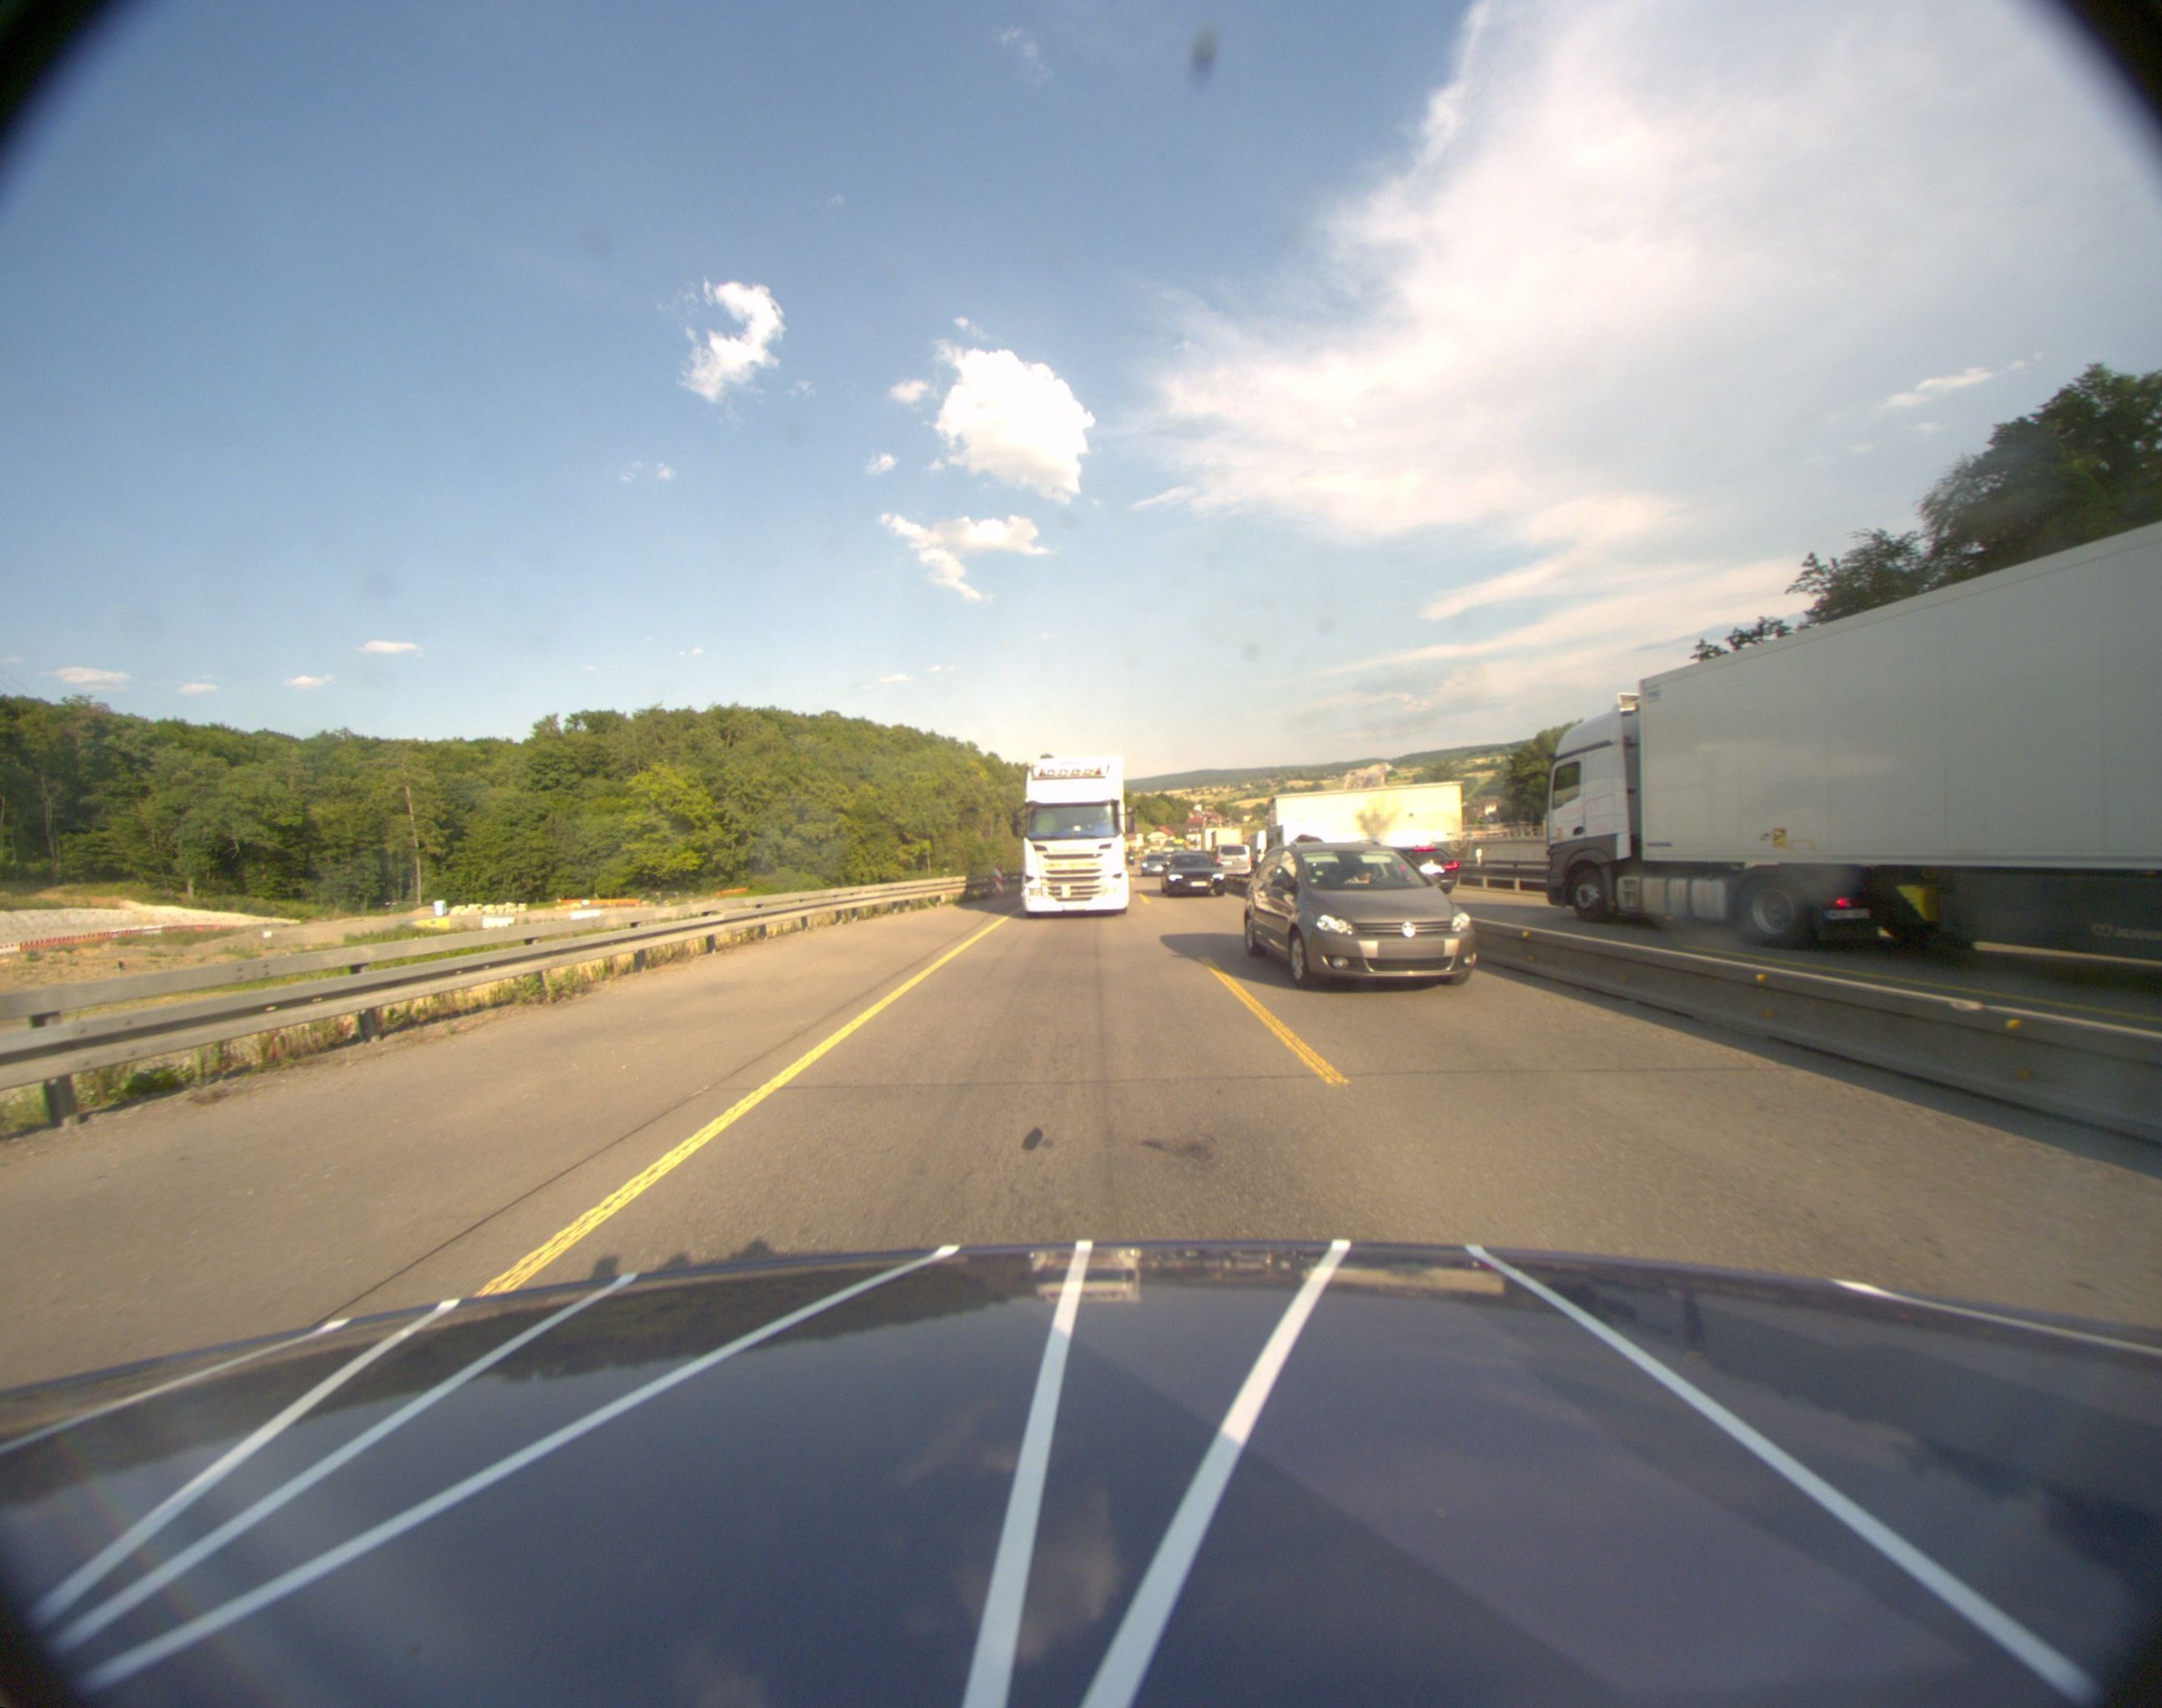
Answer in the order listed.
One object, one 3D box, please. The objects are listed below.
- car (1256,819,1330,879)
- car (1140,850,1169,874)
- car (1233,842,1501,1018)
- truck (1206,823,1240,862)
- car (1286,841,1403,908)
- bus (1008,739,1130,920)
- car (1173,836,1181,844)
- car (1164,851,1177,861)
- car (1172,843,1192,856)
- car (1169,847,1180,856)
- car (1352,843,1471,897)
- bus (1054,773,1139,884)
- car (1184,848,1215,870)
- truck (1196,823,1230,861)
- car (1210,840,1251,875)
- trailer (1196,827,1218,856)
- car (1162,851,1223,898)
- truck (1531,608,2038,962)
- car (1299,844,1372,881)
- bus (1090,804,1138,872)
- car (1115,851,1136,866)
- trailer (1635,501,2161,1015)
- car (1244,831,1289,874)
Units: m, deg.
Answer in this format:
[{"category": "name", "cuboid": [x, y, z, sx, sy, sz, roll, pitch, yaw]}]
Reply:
[{"category": "car", "cuboid": [11.300, -0.286, 41.136, 2.339, 2.901, 7.634, -1, 1, 4]}, {"category": "car", "cuboid": [4.740, 0.490, 48.677, 1.698, 1.390, 4.002, -3, 0, 7]}, {"category": "car", "cuboid": [3.049, 0.687, 9.057, 1.688, 1.565, 4.099, -2, 1, 1]}, {"category": "truck", "cuboid": [13.482, -1.057, 72.497, 2.452, 3.442, 7.619, -2, 0, 5]}, {"category": "car", "cuboid": [7.141, 0.525, 21.077, 1.892, 1.559, 4.457, -3, 0, 4]}, {"category": "bus", "cuboid": [0.095, -0.634, 22.968, 2.634, 4.077, 11.315, -1, 1, 4]}, {"category": "car", "cuboid": [26.424, -3.814, 209.039, 1.821, 1.988, 4.756, 0, -1, 3]}, {"category": "car", "cuboid": [14.578, 0.314, 124.580, 1.821, 1.569, 4.756, 0, -1, 3]}, {"category": "car", "cuboid": [12.093, -0.498, 91.157, 2.062, 1.478, 4.729, 1, 0, 5]}, {"category": "car", "cuboid": [17.517, -0.512, 142.597, 1.821, 1.569, 4.756, 0, -1, 3]}, {"category": "car", "cuboid": [10.076, 0.452, 23.582, 1.747, 1.451, 4.714, -2, 0, 2]}, {"category": "bus", "cuboid": [1.018, -1.063, 36.803, 2.983, 4.553, 9.972, -1, 0, 7]}, {"category": "car", "cuboid": [8.966, 0.396, 57.679, 1.821, 1.569, 4.756, 0, -1, 3]}, {"category": "truck", "cuboid": [15.036, -1.354, 87.293, 2.713, 4.064, 14.157, -1, 1, 6]}, {"category": "car", "cuboid": [8.165, 0.208, 41.892, 1.808, 1.761, 5.456, -2, -1, 7]}, {"category": "trailer", "cuboid": [19.155, -1.874, 116.179, 2.863, 4.012, 13.977, -1, 1, 8]}, {"category": "car", "cuboid": [3.730, 0.648, 26.089, 1.866, 1.391, 4.001, -1, 1, 6]}, {"category": "truck", "cuboid": [10.199, -0.847, 12.023, 2.719, 4.193, 5.681, -2, 1, 0]}, {"category": "car", "cuboid": [10.858, 0.320, 32.737, 1.753, 1.414, 4.610, -2, 1, 3]}, {"category": "bus", "cuboid": [2.658, -1.069, 57.176, 2.984, 4.553, 10.907, -1, 0, 5]}, {"category": "car", "cuboid": [5.295, 0.514, 90.878, 1.999, 1.630, 3.999, -2, 1, -3]}, {"category": "trailer", "cuboid": [10.190, -0.801, 5.195, 2.728, 4.193, 13.747, -2, 0, 0]}, {"category": "car", "cuboid": [12.016, -0.128, 49.605, 1.961, 2.606, 5.749, -1, 1, 5]}]
